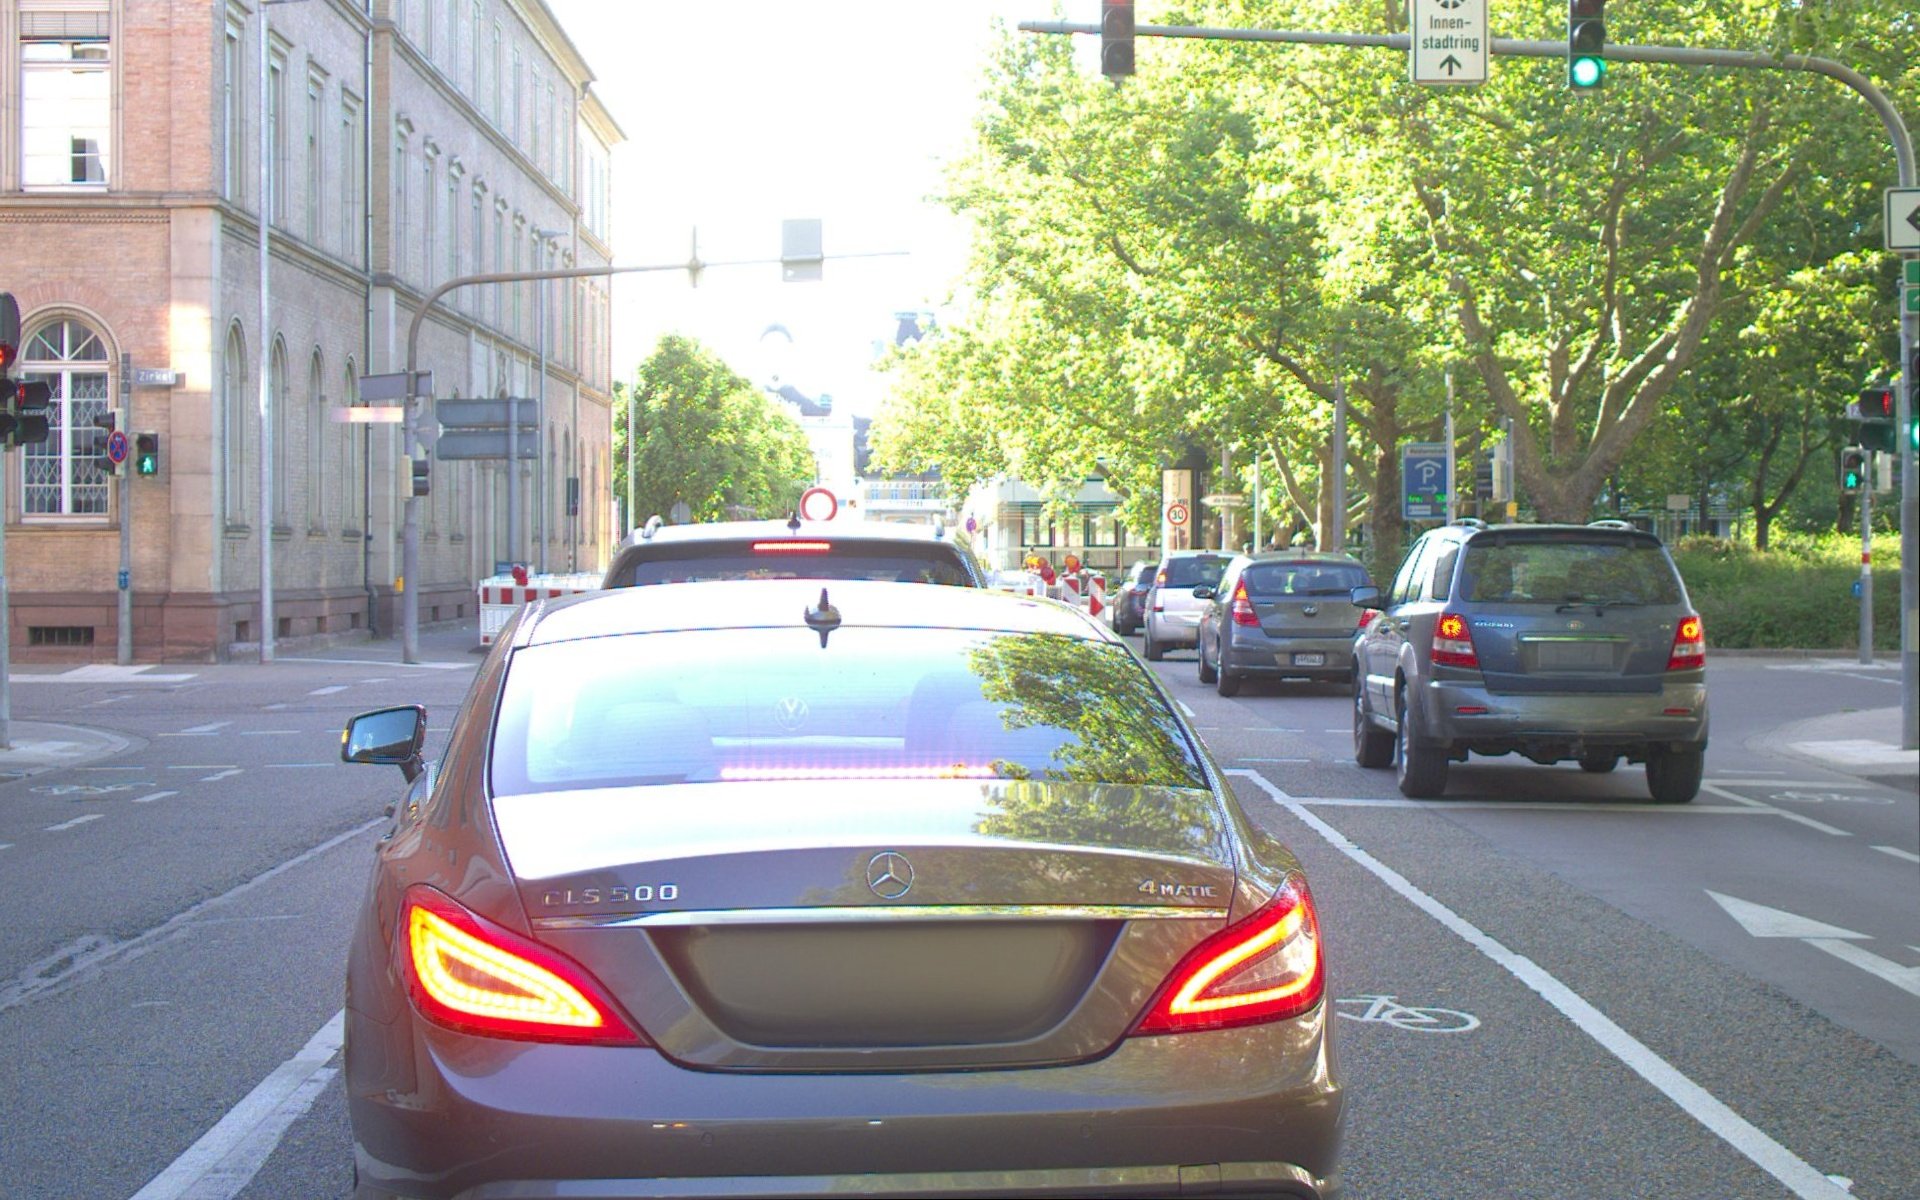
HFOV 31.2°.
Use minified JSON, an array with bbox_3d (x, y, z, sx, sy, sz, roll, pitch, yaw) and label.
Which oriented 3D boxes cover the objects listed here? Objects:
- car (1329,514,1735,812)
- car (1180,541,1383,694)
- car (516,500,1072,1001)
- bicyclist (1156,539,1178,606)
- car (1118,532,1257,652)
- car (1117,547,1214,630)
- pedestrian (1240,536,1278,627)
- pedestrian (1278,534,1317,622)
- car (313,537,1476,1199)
[{"bbox_3d":[3.636,0.337,22.641,1.861,1.758,4.482,0,1,-1],"label":"car"},{"bbox_3d":[3.337,0.140,36.279,1.704,1.514,4.000,0,1,-1],"label":"car"},{"bbox_3d":[-0.583,0.474,13.604,1.861,1.677,4.000,0,1,-1],"label":"car"},{"bbox_3d":[6.322,-0.842,104.998,0.594,2.032,0.566,1,0,-4],"label":"bicyclist"},{"bbox_3d":[3.280,-0.134,50.133,1.731,1.656,3.681,1,1,-1],"label":"car"},{"bbox_3d":[3.988,-0.239,67.099,1.601,1.543,3.681,1,1,-1],"label":"car"},{"bbox_3d":[5.962,-0.368,68.573,0.635,1.791,0.699,1,0,-4],"label":"pedestrian"},{"bbox_3d":[6.737,-0.441,68.662,0.635,1.754,0.699,1,0,-4],"label":"pedestrian"},{"bbox_3d":[-0.362,0.629,7.474,1.861,1.514,4.001,0,1,-8],"label":"car"}]
